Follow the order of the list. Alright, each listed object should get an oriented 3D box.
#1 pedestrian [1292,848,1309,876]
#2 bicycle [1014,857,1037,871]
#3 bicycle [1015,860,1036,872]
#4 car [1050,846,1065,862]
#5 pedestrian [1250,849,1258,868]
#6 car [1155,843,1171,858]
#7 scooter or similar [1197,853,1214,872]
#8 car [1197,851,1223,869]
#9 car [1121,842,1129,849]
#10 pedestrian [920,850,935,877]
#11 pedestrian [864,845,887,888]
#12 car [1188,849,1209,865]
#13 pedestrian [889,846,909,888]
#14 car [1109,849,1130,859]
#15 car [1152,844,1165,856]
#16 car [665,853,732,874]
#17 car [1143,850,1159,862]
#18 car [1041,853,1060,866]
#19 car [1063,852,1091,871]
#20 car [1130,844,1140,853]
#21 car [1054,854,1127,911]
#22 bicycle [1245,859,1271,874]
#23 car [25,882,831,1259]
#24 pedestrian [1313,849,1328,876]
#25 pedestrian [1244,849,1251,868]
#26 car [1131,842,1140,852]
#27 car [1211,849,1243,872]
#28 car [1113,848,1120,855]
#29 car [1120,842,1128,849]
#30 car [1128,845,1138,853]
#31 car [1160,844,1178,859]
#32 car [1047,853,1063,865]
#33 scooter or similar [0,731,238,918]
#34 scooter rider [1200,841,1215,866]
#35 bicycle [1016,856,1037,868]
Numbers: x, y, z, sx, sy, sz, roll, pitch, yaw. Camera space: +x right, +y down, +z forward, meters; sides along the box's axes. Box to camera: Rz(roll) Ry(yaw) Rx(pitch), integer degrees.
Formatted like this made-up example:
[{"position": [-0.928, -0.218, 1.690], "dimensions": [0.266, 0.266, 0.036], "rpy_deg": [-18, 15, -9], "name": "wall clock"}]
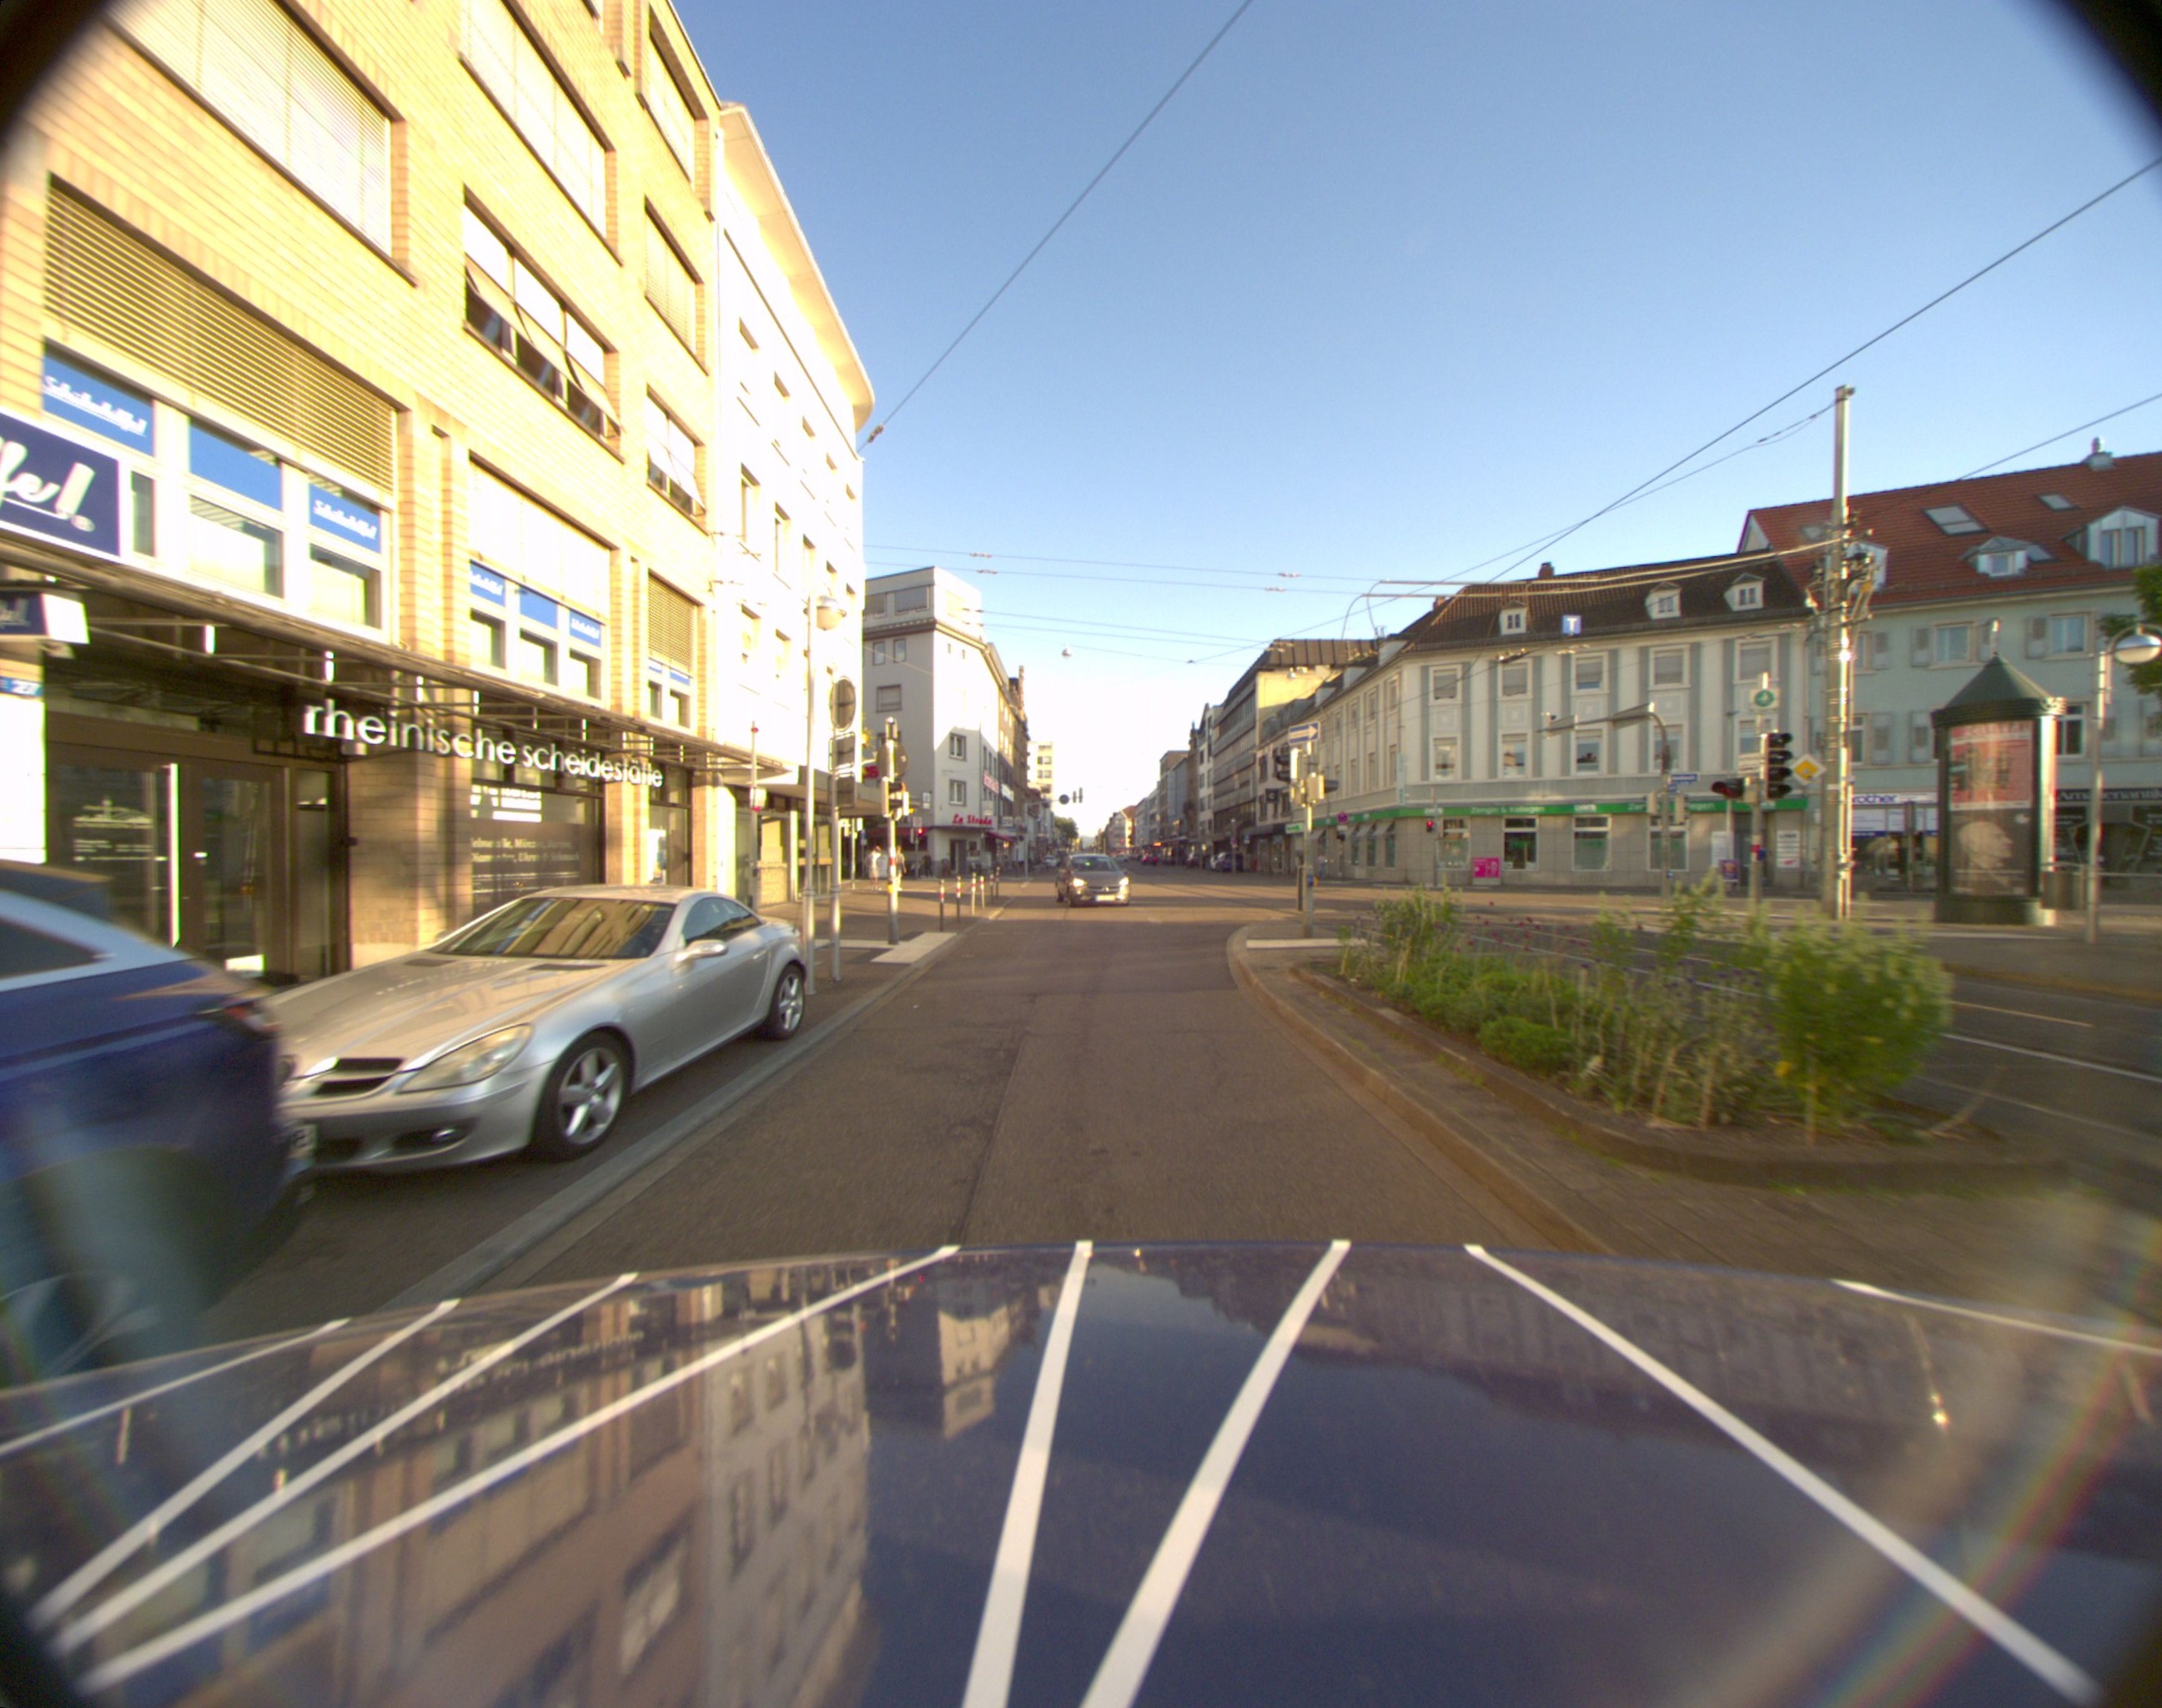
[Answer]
[{"position": [13.720, 0.512, 47.472], "dimensions": [0.827, 1.718, 0.813], "rpy_deg": [-1, 1, 0], "name": "pedestrian"}, {"position": [-4.528, 0.811, 61.921], "dimensions": [1.829, 1.025, 0.443], "rpy_deg": [1, 0, -6], "name": "bicycle"}, {"position": [-4.611, 0.966, 63.330], "dimensions": [1.762, 0.944, 0.443], "rpy_deg": [1, 2, -6], "name": "bicycle"}, {"position": [-3.256, -0.032, 105.053], "dimensions": [2.042, 2.105, 4.386], "rpy_deg": [0, 0, -1], "name": "car"}, {"position": [15.914, 0.368, 69.908], "dimensions": [0.515, 1.725, 0.600], "rpy_deg": [0, 3, 0], "name": "pedestrian"}, {"position": [12.158, -0.492, 112.815], "dimensions": [1.998, 2.048, 3.999], "rpy_deg": [0, 2, 1], "name": "car"}, {"position": [9.041, 0.576, 55.183], "dimensions": [0.544, 1.343, 1.672], "rpy_deg": [0, 1, 33], "name": "scooter or similar"}, {"position": [12.163, 0.582, 71.787], "dimensions": [1.701, 1.614, 4.000], "rpy_deg": [-1, 0, 0], "name": "car"}, {"position": [13.313, -2.462, 228.593], "dimensions": [1.999, 2.002, 3.998], "rpy_deg": [0, 2, -2], "name": "car"}, {"position": [-9.212, 0.556, 45.592], "dimensions": [0.799, 1.646, 0.586], "rpy_deg": [0, 1, -3], "name": "pedestrian"}, {"position": [-8.627, 0.528, 31.876], "dimensions": [0.749, 1.762, 0.640], "rpy_deg": [0, -2, 3], "name": "pedestrian"}, {"position": [12.923, 0.316, 83.741], "dimensions": [1.819, 1.548, 3.998], "rpy_deg": [0, 2, 1], "name": "car"}, {"position": [-7.574, 0.535, 31.617], "dimensions": [0.749, 1.763, 0.586], "rpy_deg": [0, 1, -7], "name": "pedestrian"}, {"position": [7.326, 0.017, 144.452], "dimensions": [3.829, 1.739, 1.808], "rpy_deg": [0, 2, 15], "name": "car"}, {"position": [13.288, -0.702, 130.692], "dimensions": [1.833, 1.907, 3.998], "rpy_deg": [0, 2, 0], "name": "car"}, {"position": [-27.200, 0.674, 53.972], "dimensions": [4.406, 1.385, 1.808], "rpy_deg": [1, 1, 23], "name": "car"}, {"position": [9.566, 0.268, 104.060], "dimensions": [1.895, 1.471, 4.544], "rpy_deg": [2, -1, 1], "name": "car"}, {"position": [-3.550, 0.621, 88.041], "dimensions": [2.042, 1.550, 4.386], "rpy_deg": [0, 0, -1], "name": "car"}, {"position": [-0.283, 0.583, 60.676], "dimensions": [1.914, 1.350, 3.747], "rpy_deg": [-1, 0, 3], "name": "car"}, {"position": [12.979, -1.254, 181.356], "dimensions": [1.974, 2.002, 3.998], "rpy_deg": [0, 2, -2], "name": "car"}, {"position": [0.191, 0.742, 22.020], "dimensions": [1.588, 1.445, 3.839], "rpy_deg": [0, 1, -8], "name": "car"}, {"position": [12.323, 0.870, 53.028], "dimensions": [1.740, 1.052, 0.499], "rpy_deg": [0, 0, 9], "name": "bicycle"}, {"position": [-3.269, 0.927, 5.039], "dimensions": [1.677, 1.275, 4.064], "rpy_deg": [0, 1, 3], "name": "car"}, {"position": [14.610, 0.514, 46.439], "dimensions": [0.826, 1.631, 0.815], "rpy_deg": [-1, 0, 16], "name": "pedestrian"}, {"position": [15.353, 0.394, 70.030], "dimensions": [0.509, 1.675, 0.583], "rpy_deg": [-1, 2, -1], "name": "pedestrian"}, {"position": [13.376, -1.775, 187.489], "dimensions": [1.975, 2.181, 4.132], "rpy_deg": [0, 2, 0], "name": "car"}, {"position": [12.565, 0.544, 65.726], "dimensions": [1.915, 1.785, 4.128], "rpy_deg": [-2, 1, 0], "name": "car"}, {"position": [11.357, -0.746, 241.607], "dimensions": [1.999, 2.002, 3.998], "rpy_deg": [0, 2, -2], "name": "car"}, {"position": [13.332, -2.704, 234.673], "dimensions": [1.999, 2.002, 3.998], "rpy_deg": [0, 2, -2], "name": "car"}, {"position": [13.353, -1.215, 194.958], "dimensions": [1.960, 2.002, 3.998], "rpy_deg": [0, 2, -2], "name": "car"}, {"position": [12.283, -0.399, 106.079], "dimensions": [1.998, 2.002, 3.998], "rpy_deg": [0, 2, 1], "name": "car"}, {"position": [-3.378, 0.588, 99.830], "dimensions": [2.042, 1.550, 4.386], "rpy_deg": [0, 0, -1], "name": "car"}, {"position": [-7.051, -0.183, 5.359], "dimensions": [0.461, 1.176, 1.572], "rpy_deg": [0, 0, -1], "name": "scooter or similar"}, {"position": [9.215, -0.025, 55.384], "dimensions": [0.811, 1.797, 0.790], "rpy_deg": [2, 2, 33], "name": "scooter rider"}, {"position": [-4.658, 0.670, 64.722], "dimensions": [1.762, 1.064, 0.443], "rpy_deg": [0, 1, -6], "name": "bicycle"}]
